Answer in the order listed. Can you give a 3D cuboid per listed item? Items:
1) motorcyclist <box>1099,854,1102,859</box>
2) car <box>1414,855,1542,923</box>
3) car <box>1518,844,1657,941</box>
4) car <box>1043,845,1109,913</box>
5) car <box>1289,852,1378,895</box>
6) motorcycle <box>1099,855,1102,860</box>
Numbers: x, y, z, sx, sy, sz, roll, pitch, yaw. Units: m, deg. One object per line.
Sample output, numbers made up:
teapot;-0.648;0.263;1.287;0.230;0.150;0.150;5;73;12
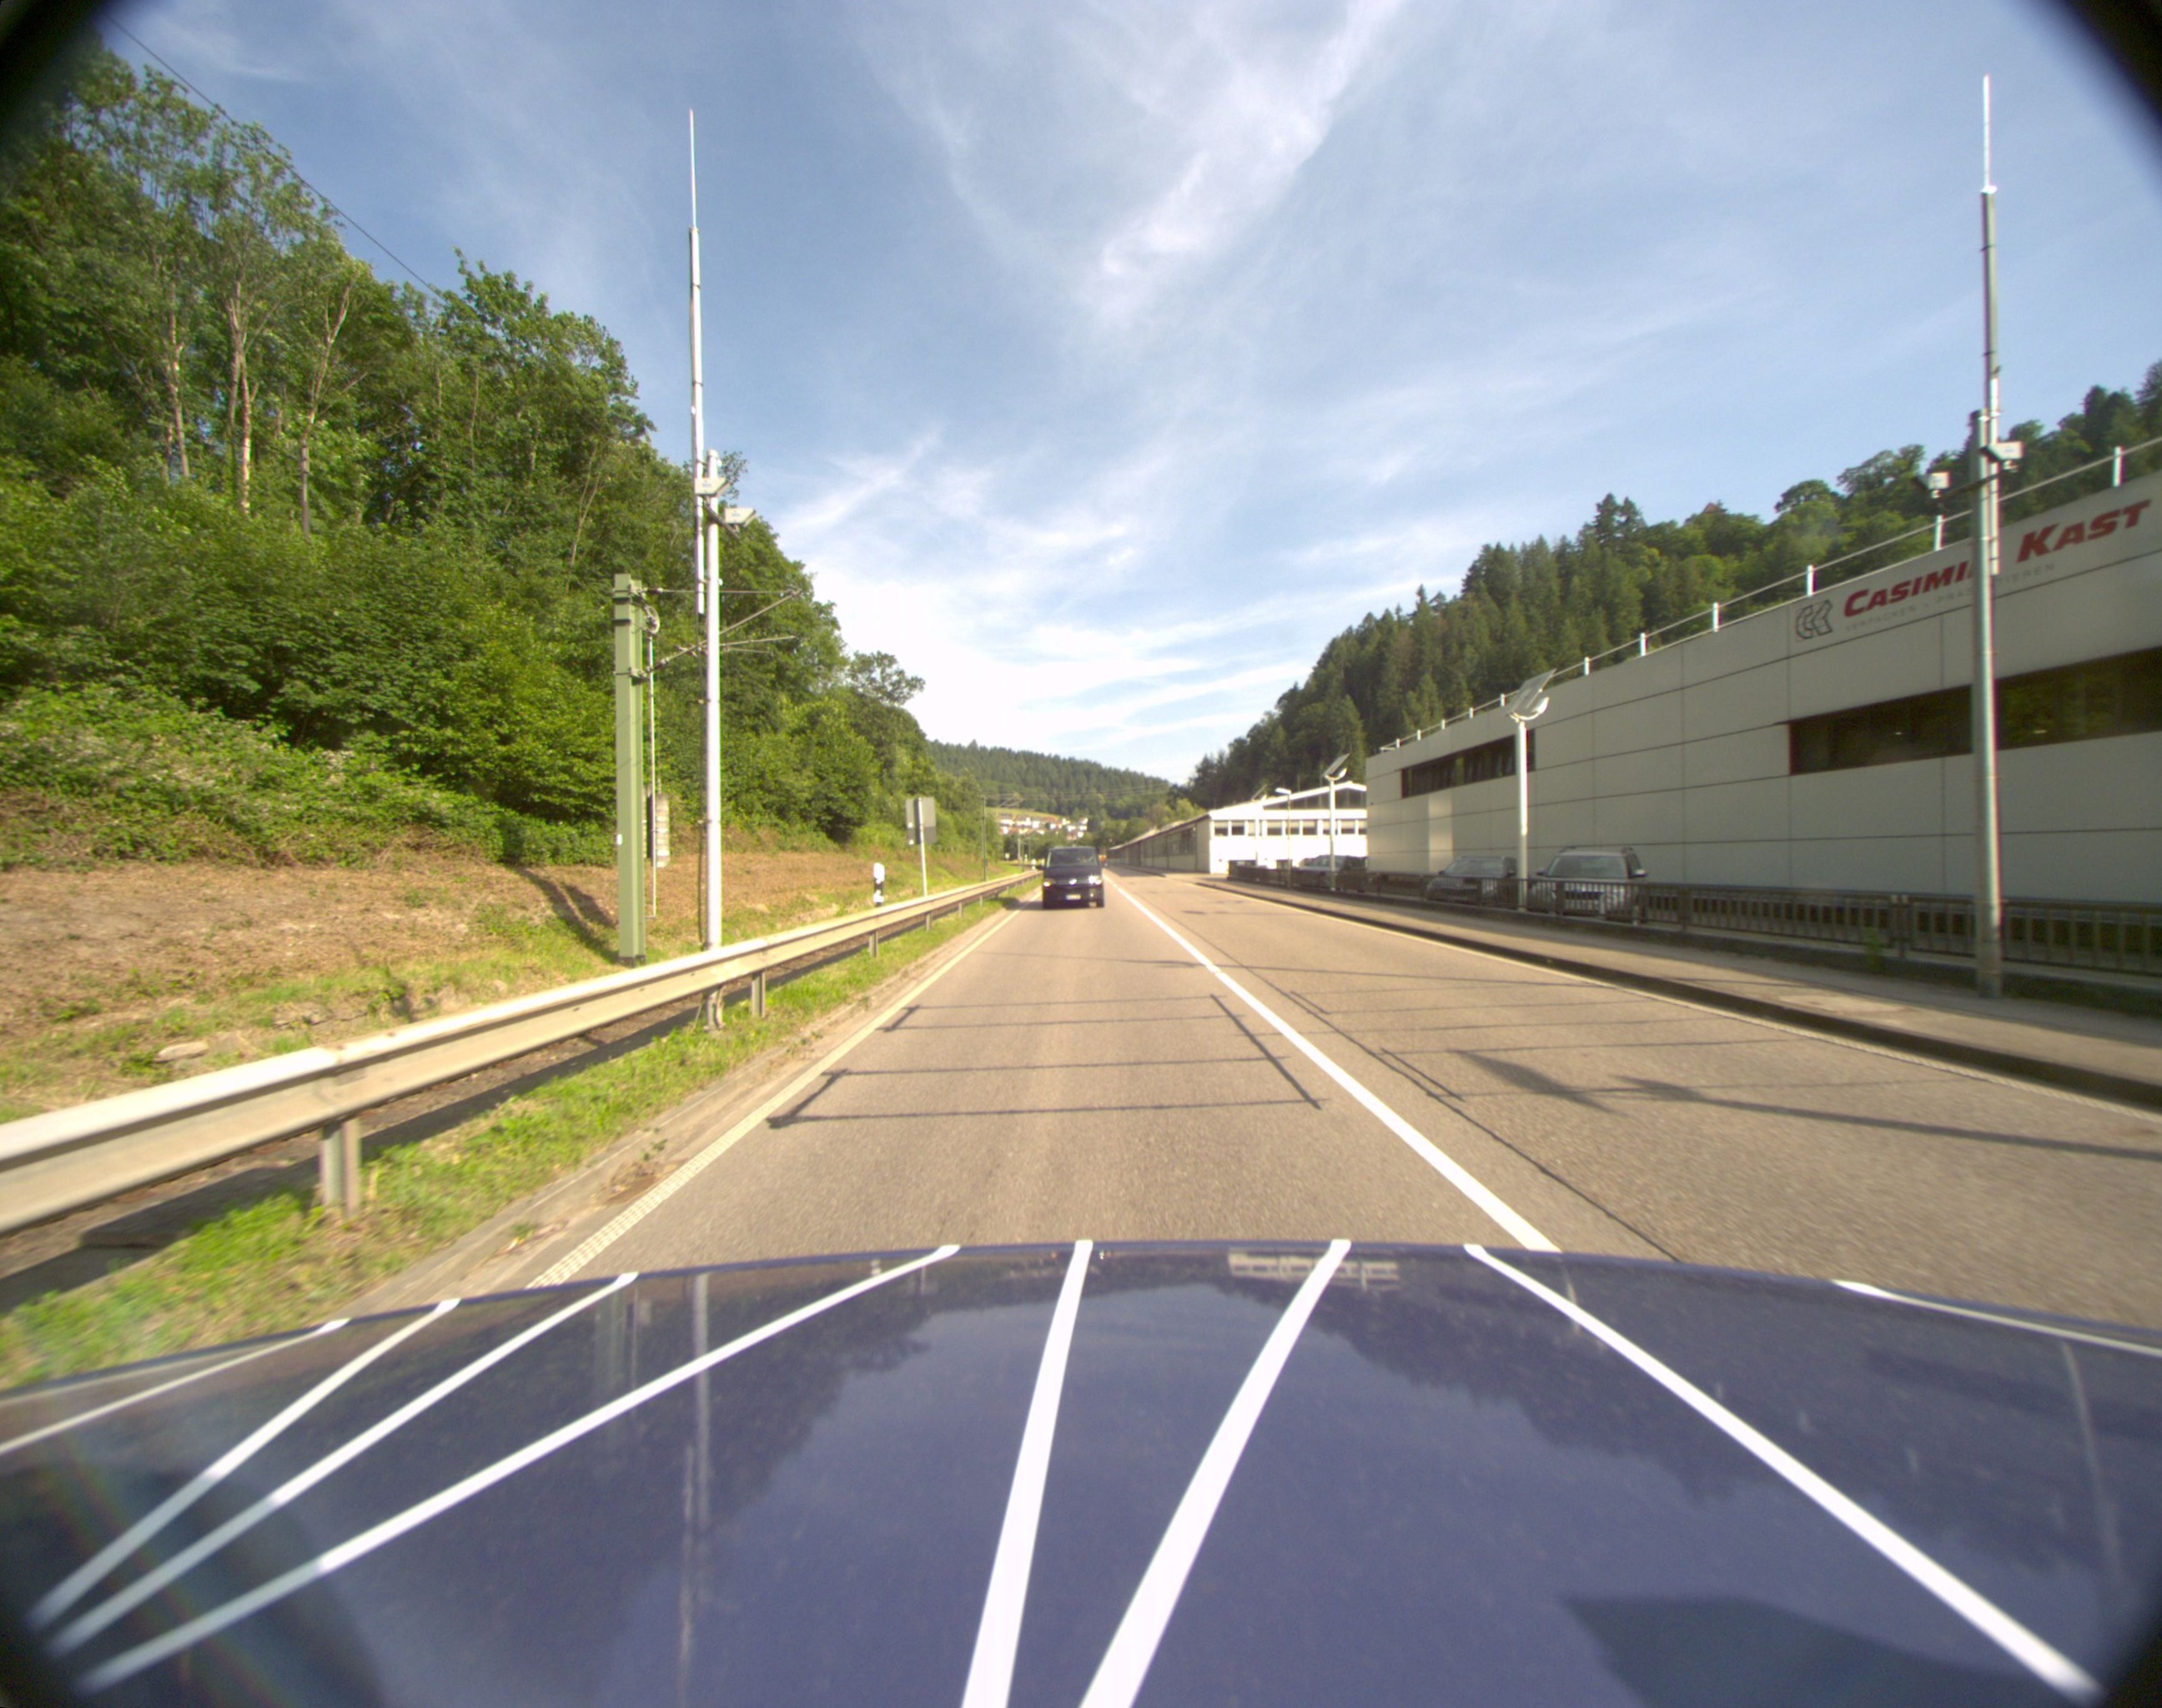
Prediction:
motorcyclist;4.382;0.653;171.103;0.587;1.118;0.636;-2;1;0
car;10.486;0.832;19.905;1.883;1.486;4.498;-1;0;42
car;10.556;0.684;15.717;1.777;1.698;4.119;-1;0;42
car;-0.264;0.743;25.055;1.901;1.927;5.187;-2;0;-3
car;10.365;0.752;30.988;1.883;1.582;4.183;-1;0;42
motorcycle;4.384;0.871;171.415;0.743;1.062;2.492;-2;0;0
